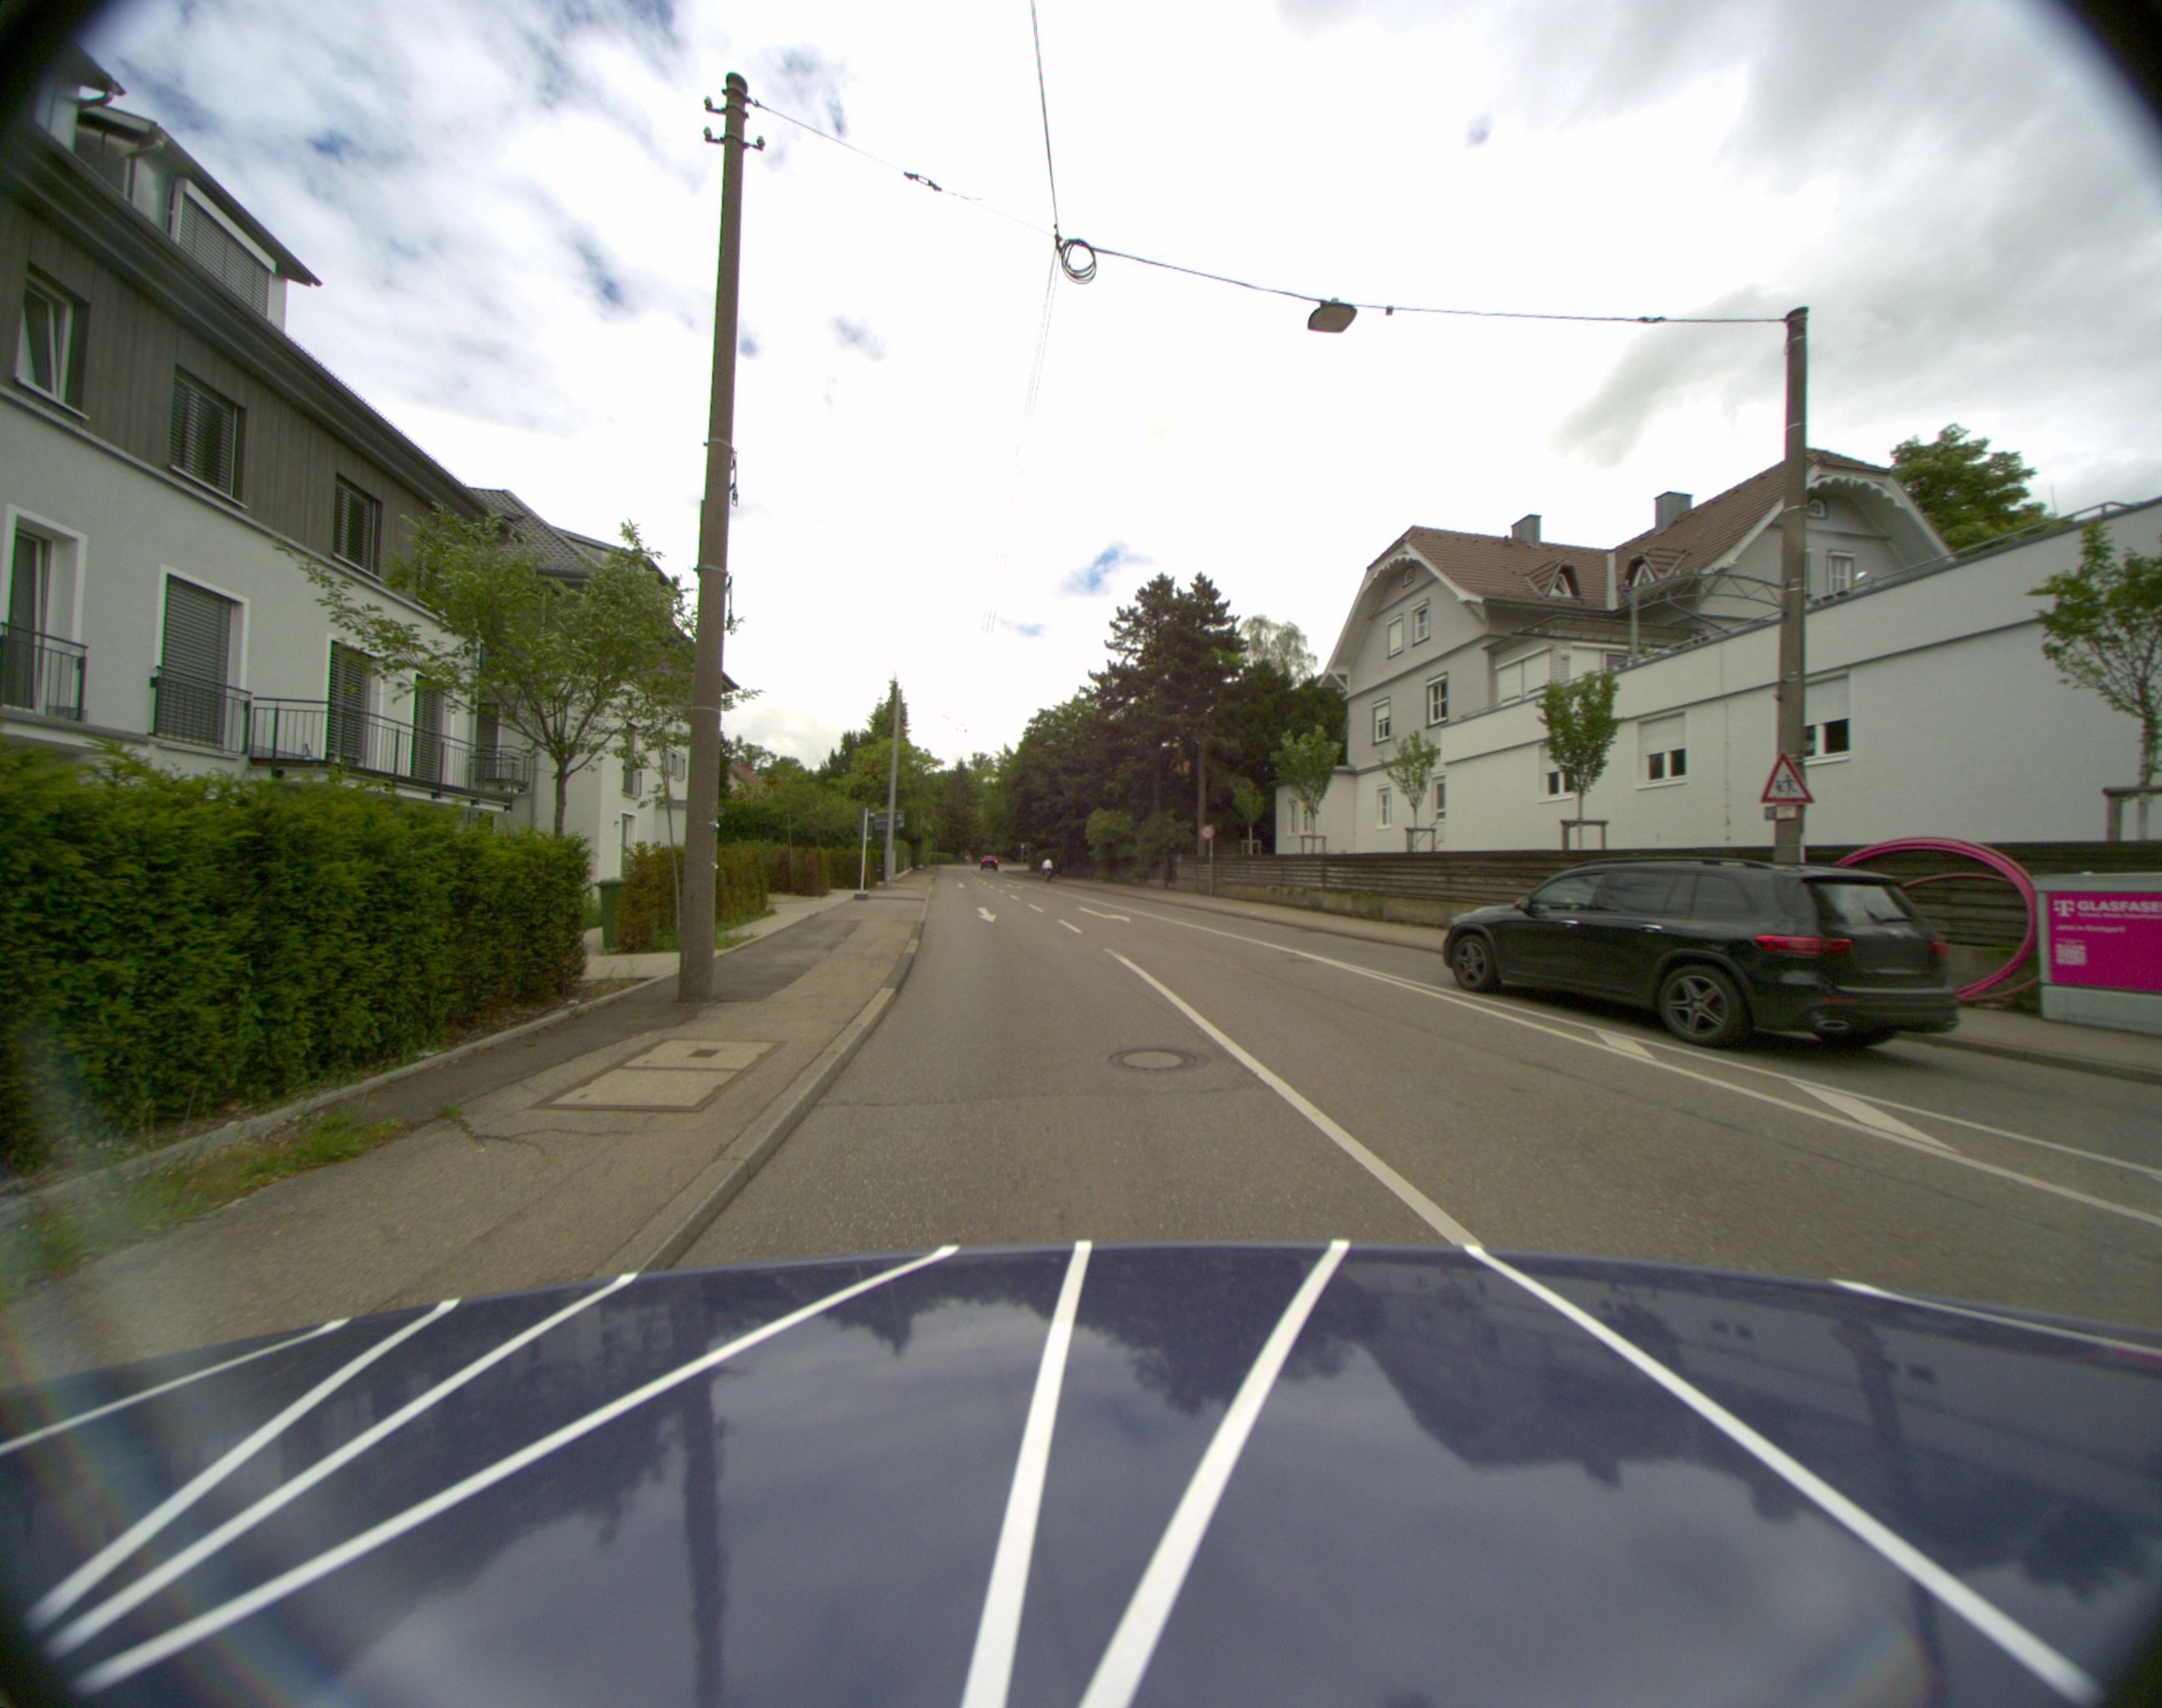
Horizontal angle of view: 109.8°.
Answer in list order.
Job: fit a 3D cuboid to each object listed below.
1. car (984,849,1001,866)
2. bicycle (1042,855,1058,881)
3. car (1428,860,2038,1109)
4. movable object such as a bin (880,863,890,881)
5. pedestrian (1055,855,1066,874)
[{"bbox_3d":[-10.088,0.387,86.537,1.838,1.621,4.278,5,2,-7],"label":"car"},{"bbox_3d":[-2.196,0.958,53.505,0.761,1.734,1.869,3,0,-11],"label":"bicycle"},{"bbox_3d":[6.044,1.013,7.974,2.001,1.787,4.515,3,-1,-12],"label":"car"},{"bbox_3d":[-10.658,0.978,41.284,0.467,0.932,0.603,1,0,-21],"label":"movable object such as a bin"},{"bbox_3d":[-1.793,0.924,66.509,0.631,1.652,0.917,1,1,-24],"label":"pedestrian"}]
